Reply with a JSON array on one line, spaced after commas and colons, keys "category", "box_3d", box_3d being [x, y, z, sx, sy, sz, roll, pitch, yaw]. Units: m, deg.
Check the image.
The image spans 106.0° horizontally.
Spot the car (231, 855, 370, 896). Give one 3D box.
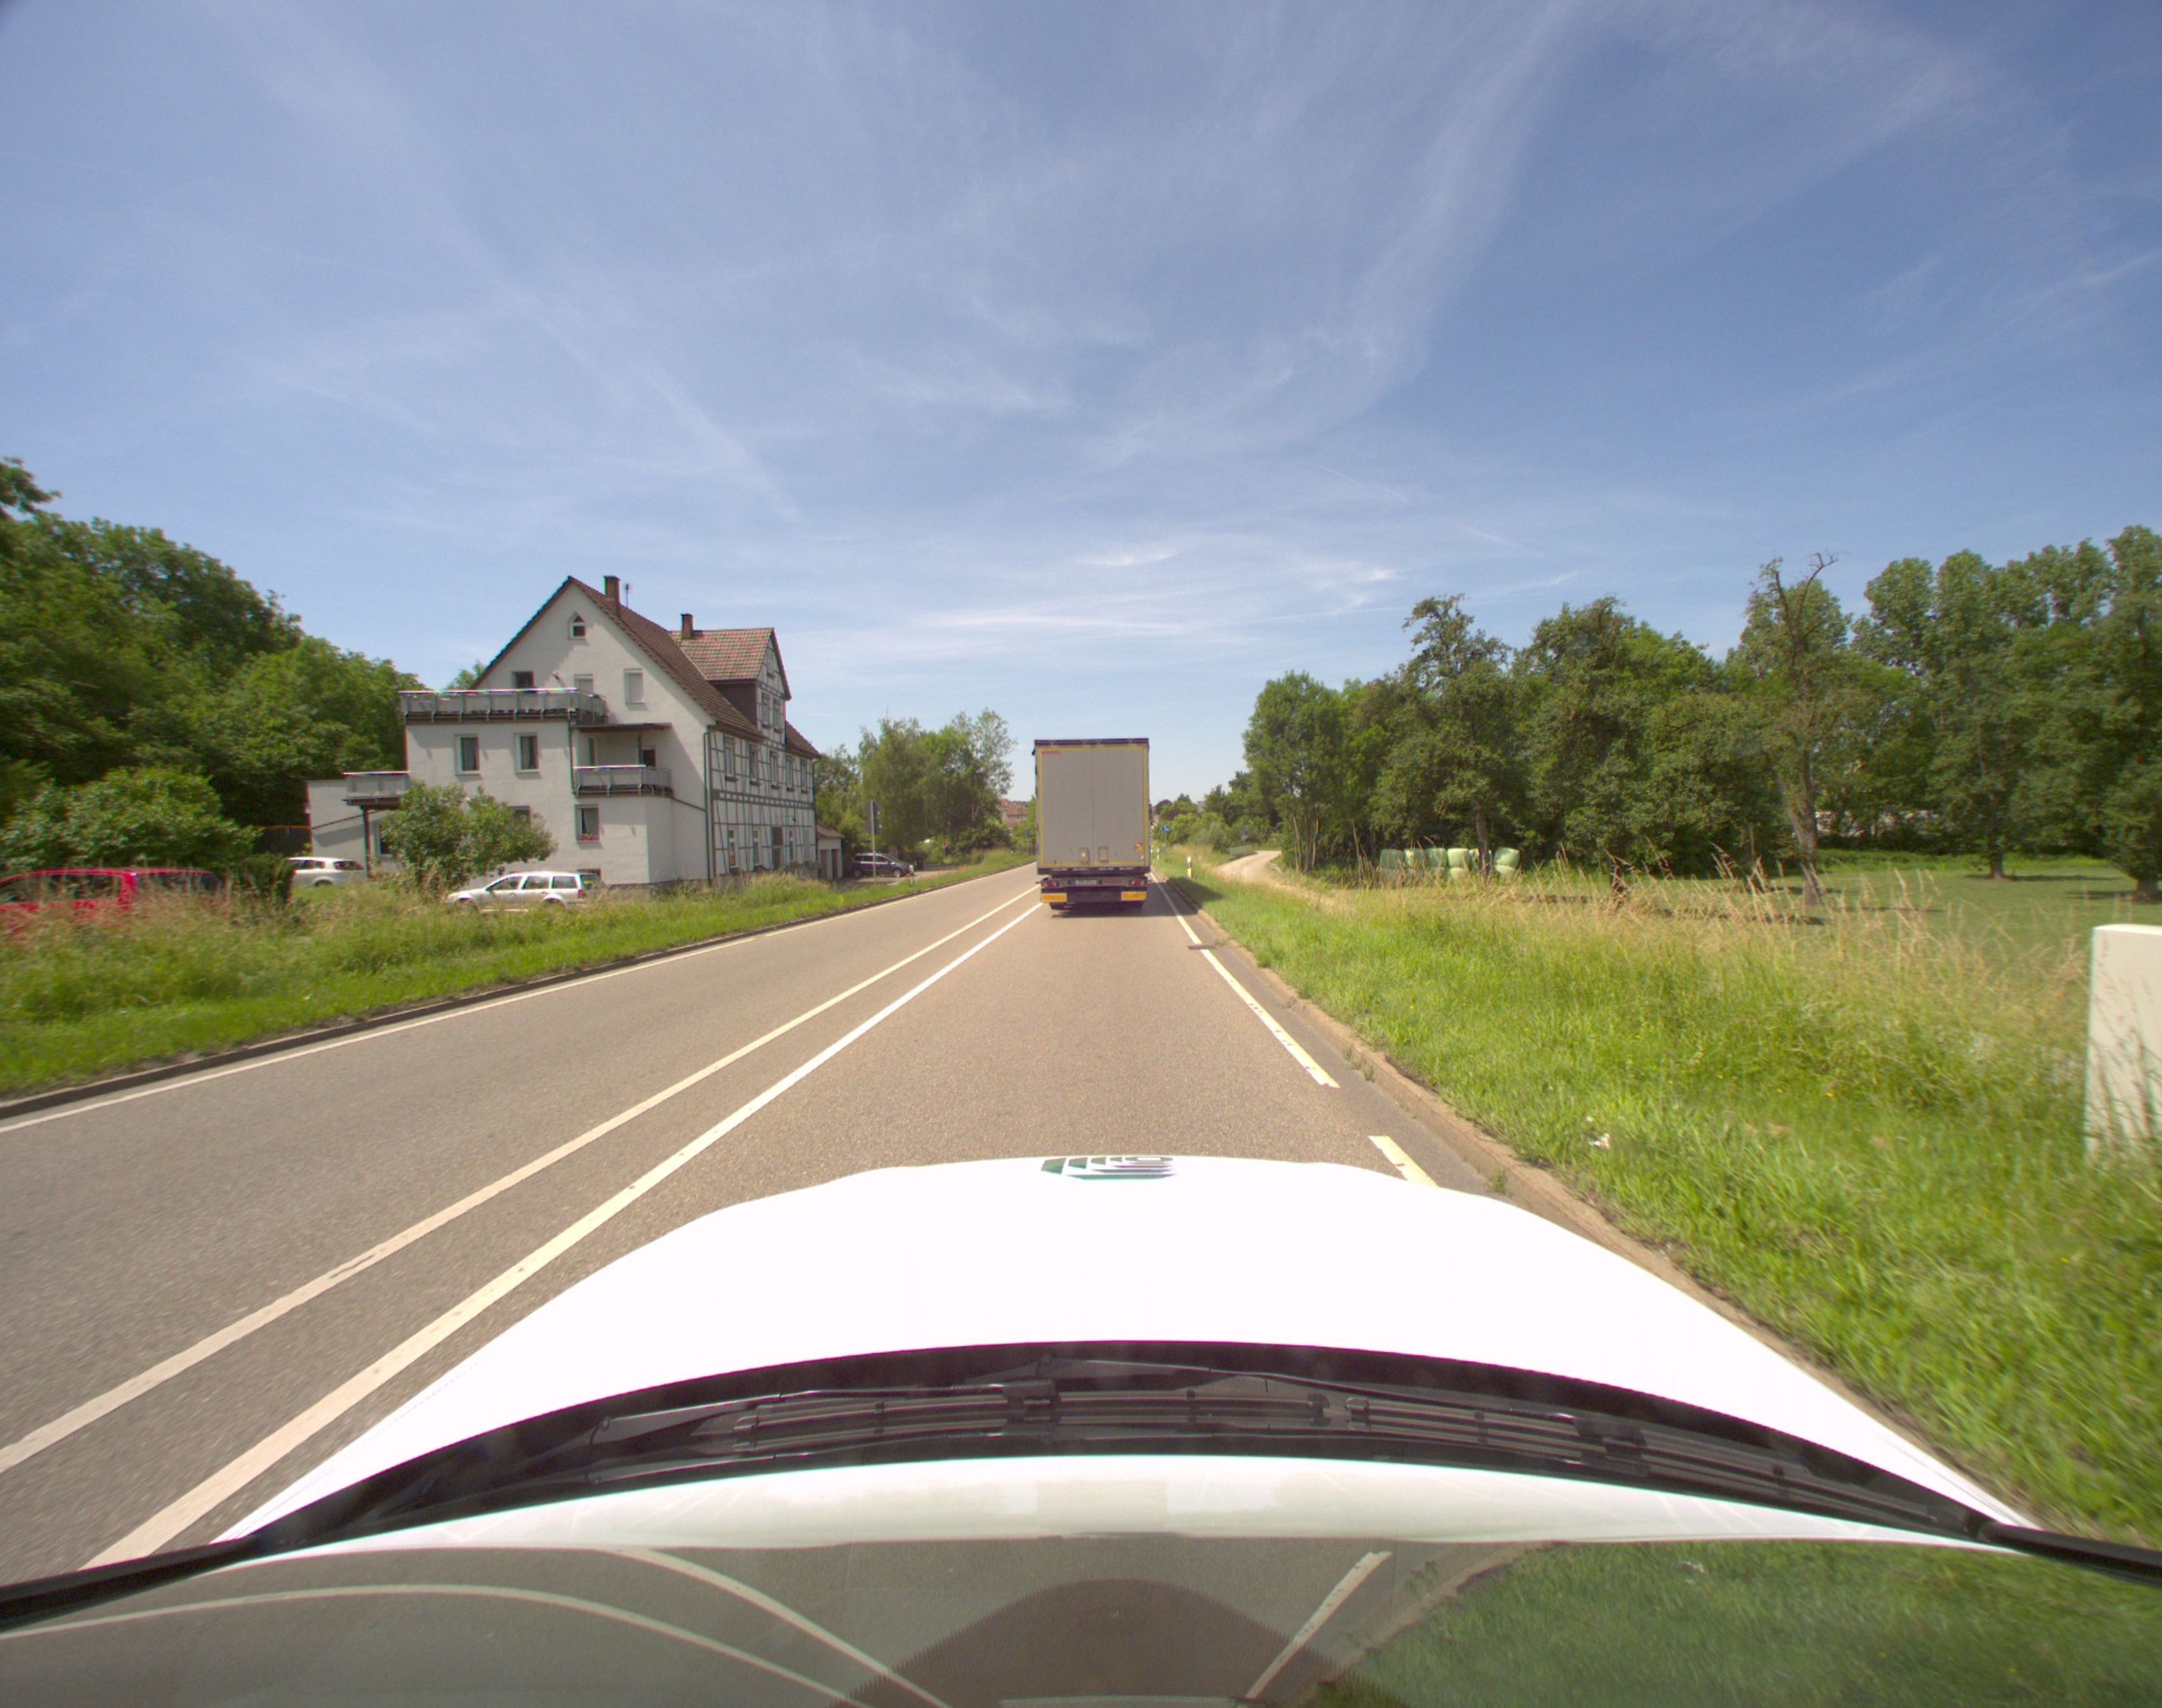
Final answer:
[{"category": "car", "box_3d": [-29.424, 0.807, 30.815, 3.377, 1.446, 1.666, 1, 0, -10]}]

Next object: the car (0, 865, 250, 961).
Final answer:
[{"category": "car", "box_3d": [-18.231, 1.036, 15.037, 4.009, 1.618, 1.835, 0, 0, 4]}]

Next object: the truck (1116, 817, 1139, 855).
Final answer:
[{"category": "truck", "box_3d": [5.756, -2.140, 102.149, 2.636, 4.601, 10.821, 0, 0, 2]}]

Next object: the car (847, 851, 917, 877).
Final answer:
[{"category": "car", "box_3d": [-14.625, 0.723, 60.045, 4.650, 1.720, 1.861, -1, 3, -1]}]

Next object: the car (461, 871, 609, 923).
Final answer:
[{"category": "car", "box_3d": [-16.521, 1.277, 24.767, 3.369, 1.465, 1.608, 0, 0, -3]}]

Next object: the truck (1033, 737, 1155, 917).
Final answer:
[{"category": "truck", "box_3d": [0.466, -0.639, 22.405, 2.637, 3.916, 8.830, -1, 0, 2]}]
